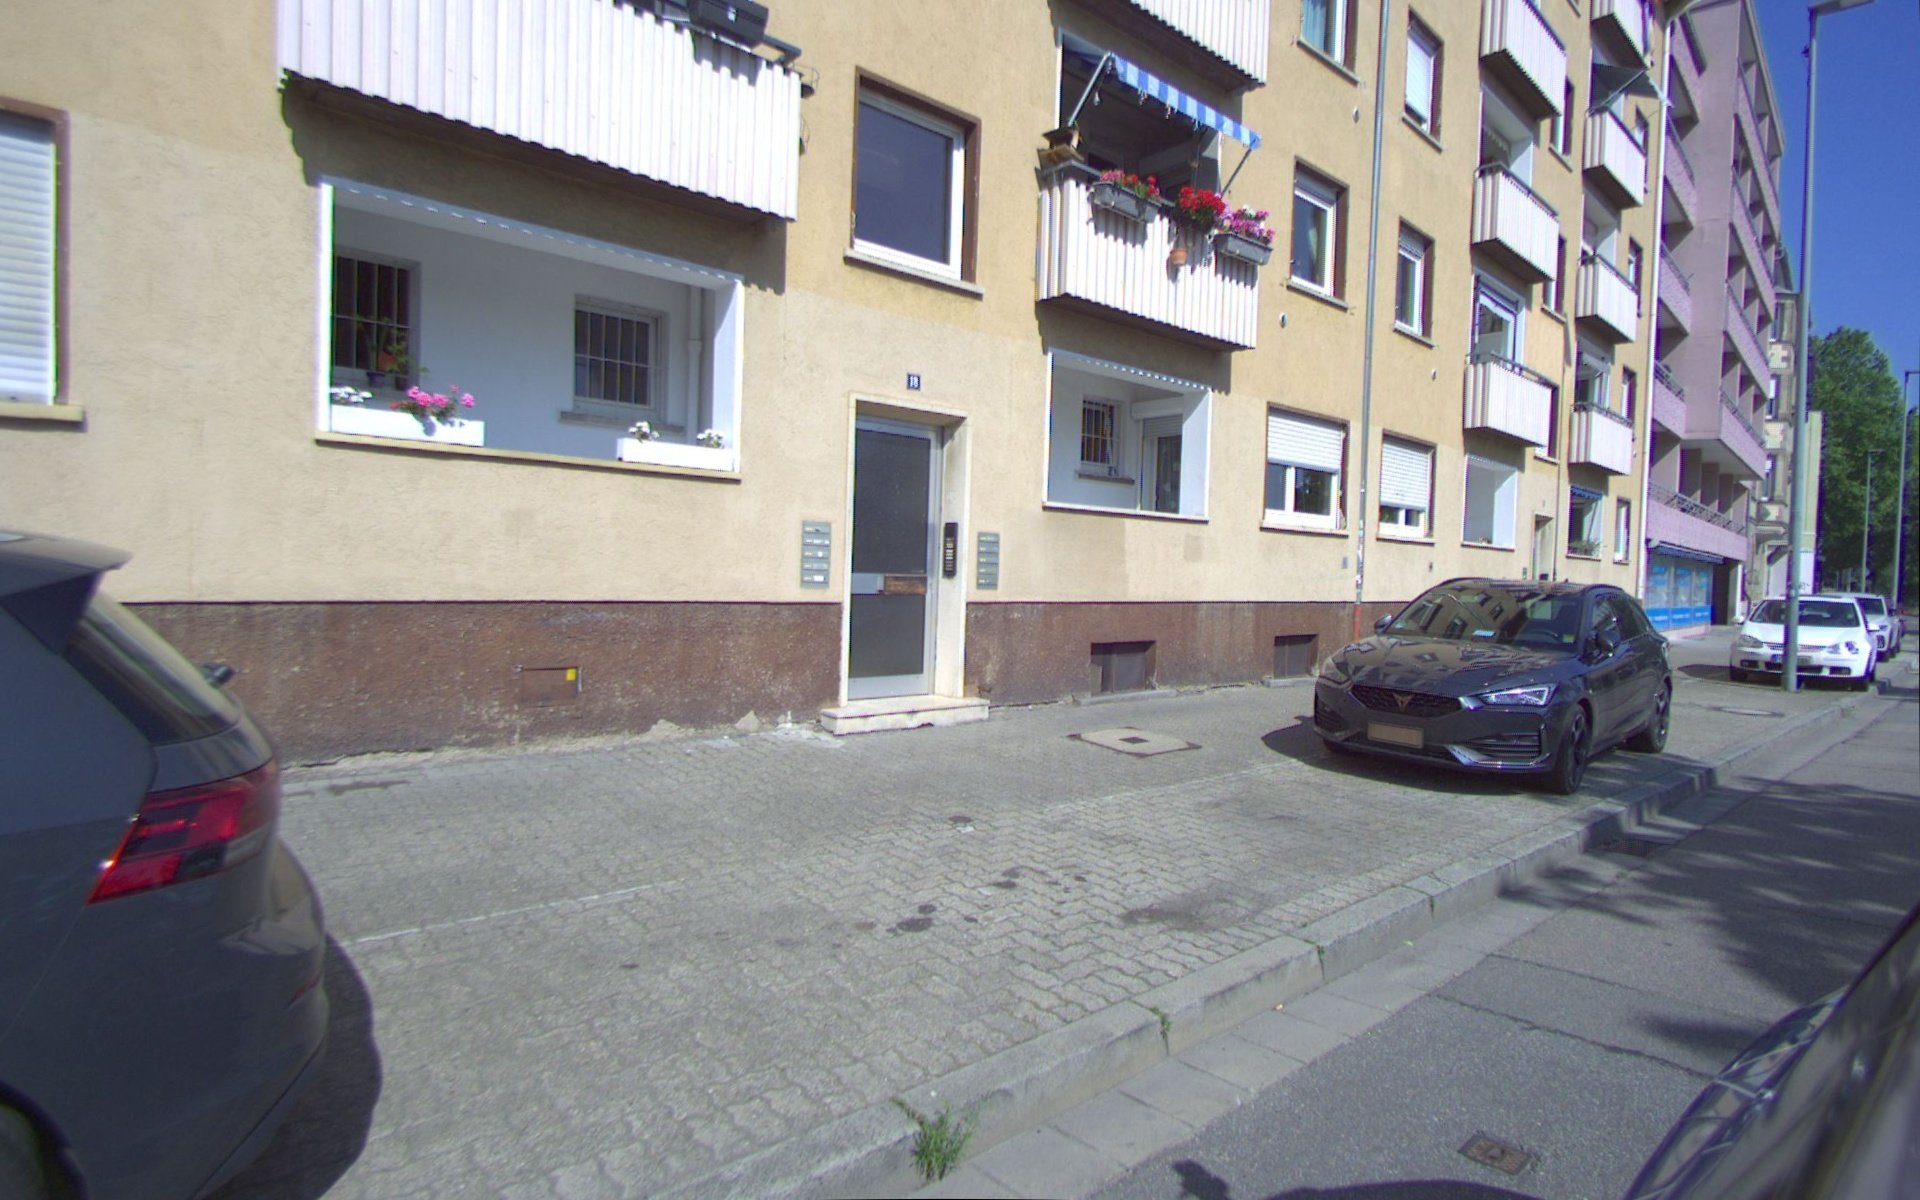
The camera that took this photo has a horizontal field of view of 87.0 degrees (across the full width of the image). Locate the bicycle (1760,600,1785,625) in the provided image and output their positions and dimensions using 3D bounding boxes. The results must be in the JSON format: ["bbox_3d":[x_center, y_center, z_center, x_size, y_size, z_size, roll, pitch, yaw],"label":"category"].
[{"bbox_3d":[34.119,0.515,42.488,0.650,0.982,1.835,4,3,43],"label":"bicycle"}]

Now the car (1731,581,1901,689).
[{"bbox_3d":[14.473,0.512,17.037,4.059,1.524,1.758,0,3,-44],"label":"car"}]

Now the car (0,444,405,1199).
[{"bbox_3d":[-3.105,0.472,1.003,4.184,1.480,1.713,0,2,-44],"label":"car"}]

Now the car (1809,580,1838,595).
[{"bbox_3d":[116.106,-1.664,136.157,1.981,1.914,3.963,3,2,27],"label":"car"}]

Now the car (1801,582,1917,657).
[{"bbox_3d":[21.721,0.416,24.405,4.282,1.560,1.738,0,3,-44],"label":"car"}]

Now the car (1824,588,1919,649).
[{"bbox_3d":[25.014,0.472,27.696,3.373,1.425,1.681,0,4,-44],"label":"car"}]

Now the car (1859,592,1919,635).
[{"bbox_3d":[37.144,0.490,40.411,1.785,1.500,3.939,5,4,42],"label":"car"}]

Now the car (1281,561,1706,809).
[{"bbox_3d":[4.609,0.492,8.377,4.515,1.455,1.802,0,3,-45],"label":"car"}]

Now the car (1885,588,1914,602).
[{"bbox_3d":[116.529,-0.652,125.579,1.631,1.519,3.616,3,2,26],"label":"car"}]

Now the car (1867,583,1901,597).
[{"bbox_3d":[110.522,-1.178,121.088,1.852,1.470,4.167,4,3,26],"label":"car"}]
